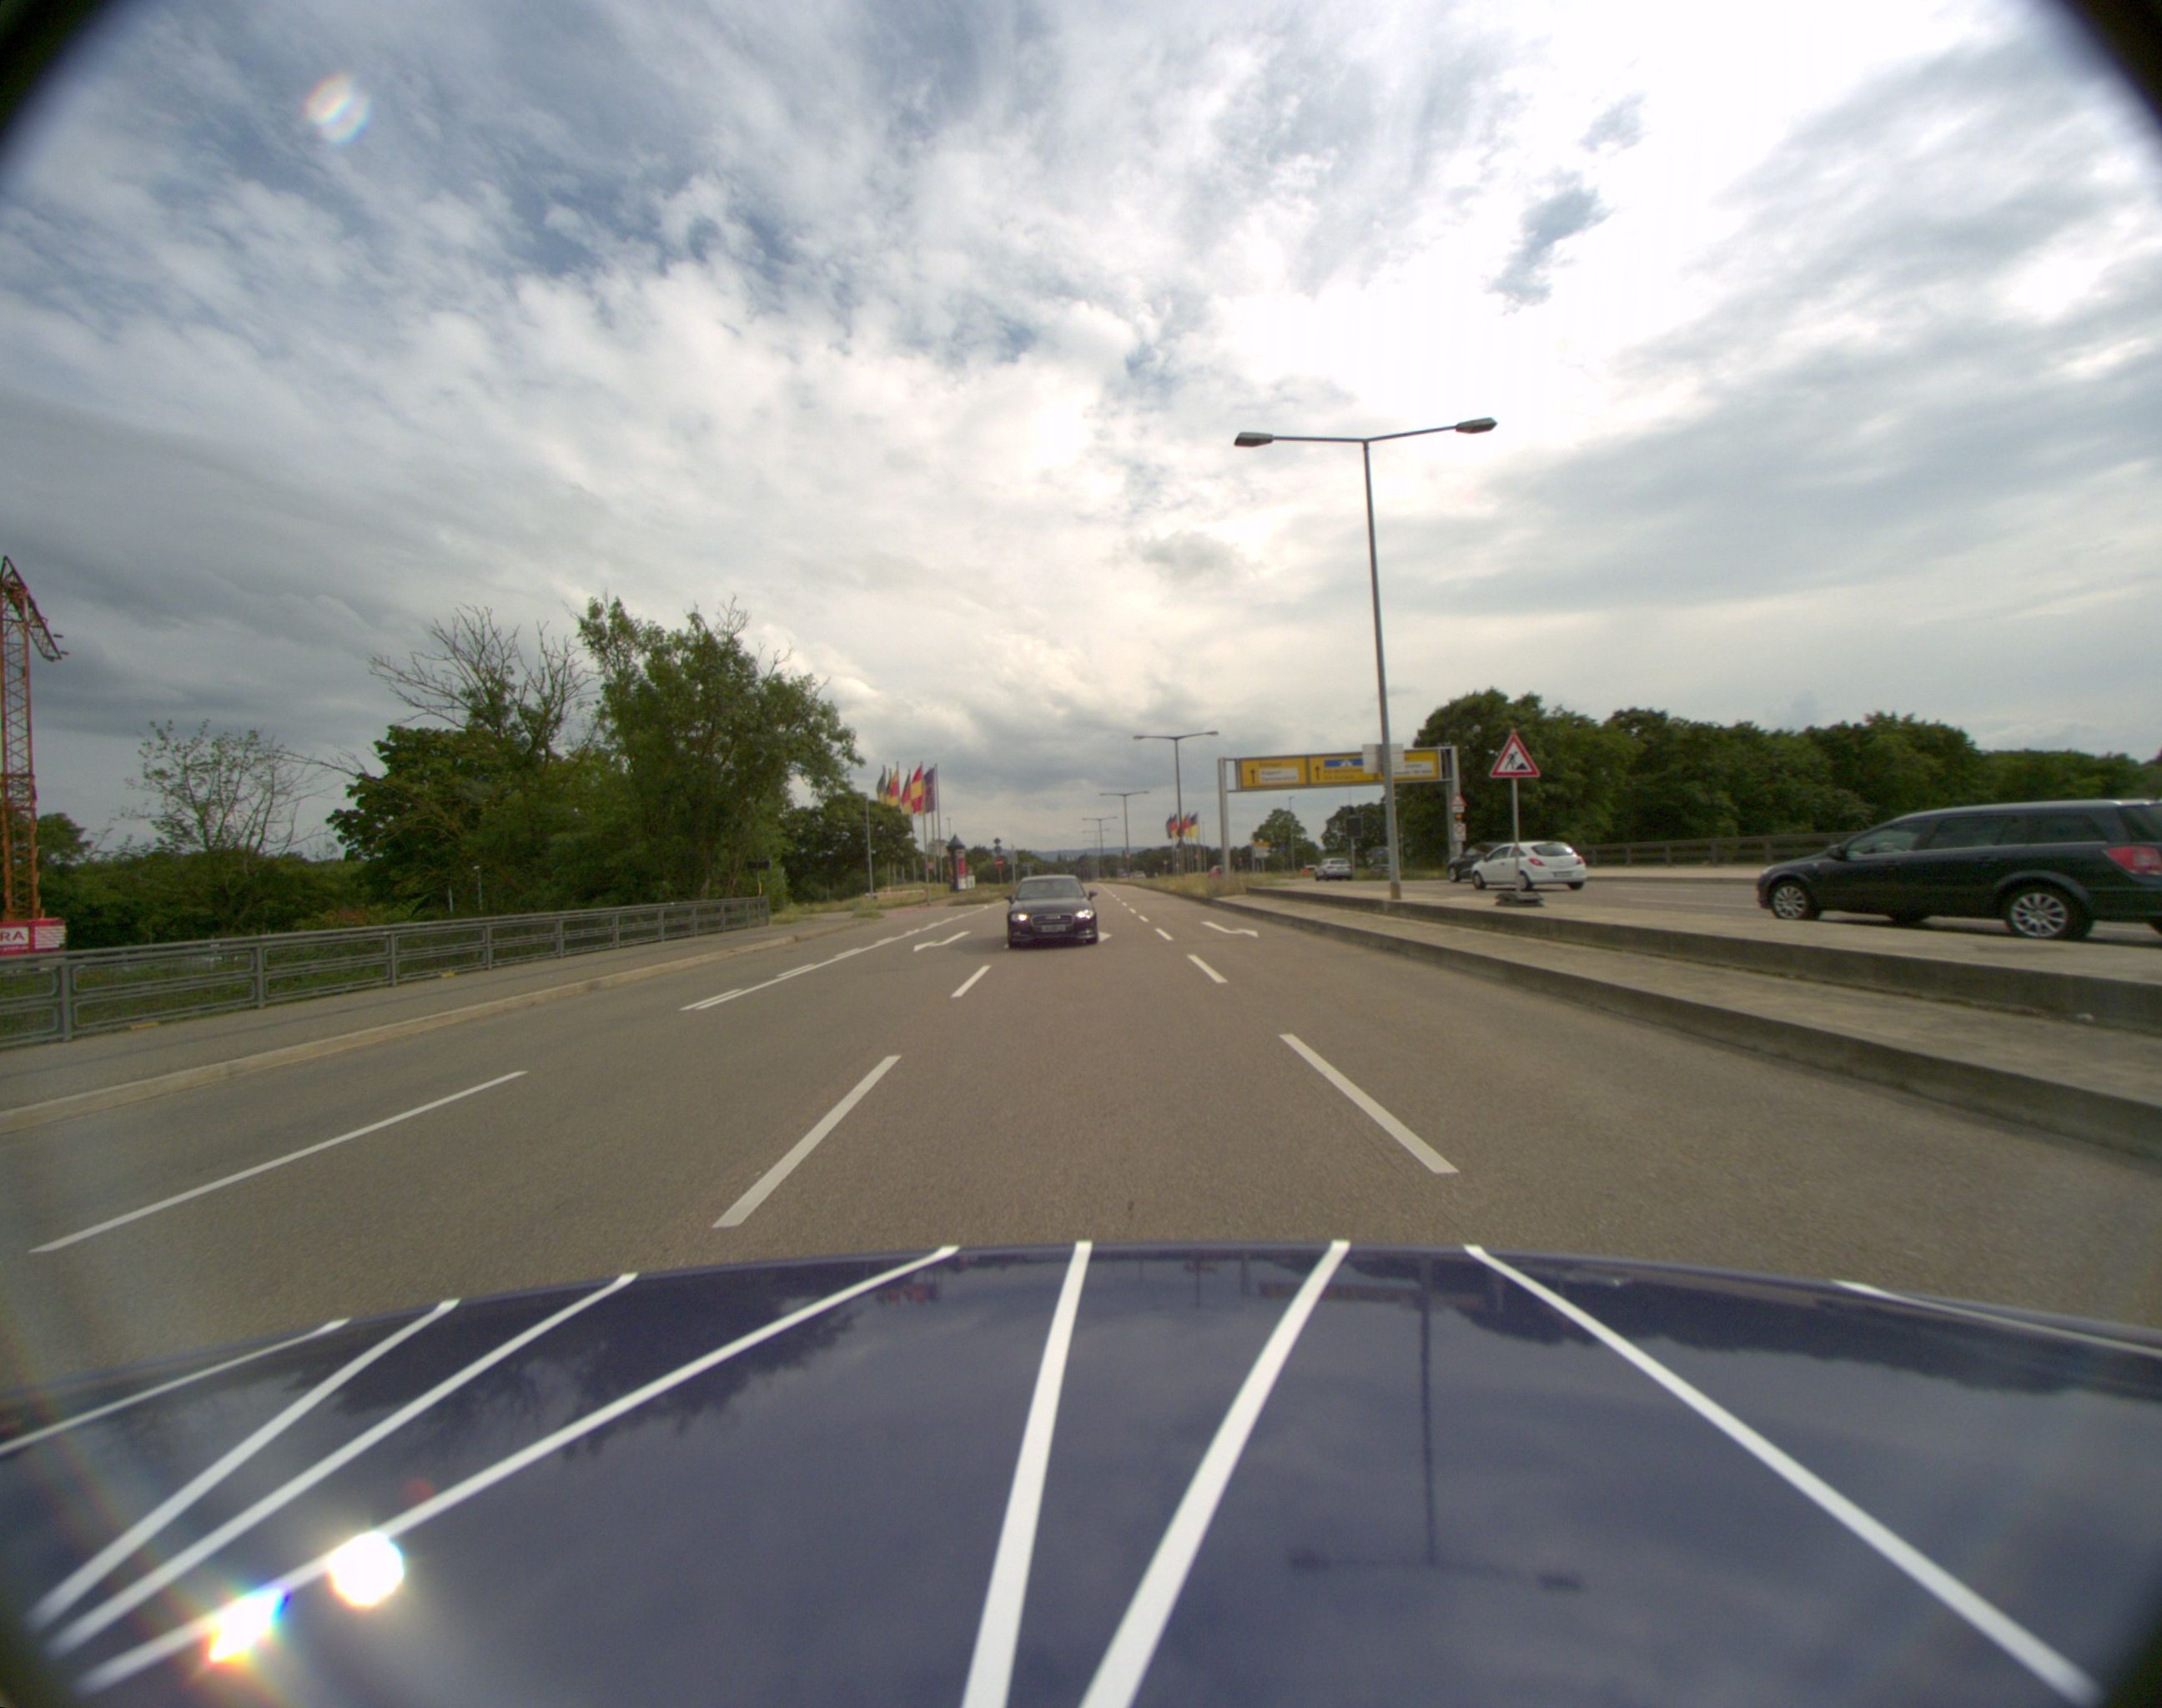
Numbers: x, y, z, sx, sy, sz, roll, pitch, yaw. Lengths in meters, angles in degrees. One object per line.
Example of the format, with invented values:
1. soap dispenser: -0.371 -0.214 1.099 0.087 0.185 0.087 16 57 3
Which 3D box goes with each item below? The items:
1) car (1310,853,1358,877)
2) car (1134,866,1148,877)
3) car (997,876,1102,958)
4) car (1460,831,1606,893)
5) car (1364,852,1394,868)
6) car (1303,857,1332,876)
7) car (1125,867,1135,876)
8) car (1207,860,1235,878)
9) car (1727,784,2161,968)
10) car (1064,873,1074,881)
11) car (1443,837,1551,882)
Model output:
1. car: 17.733 0.755 53.462 1.892 1.523 4.453 -3 0 0
2. car: 9.221 2.776 117.299 1.776 1.597 3.878 -2 -2 -2
3. car: -0.593 1.232 16.367 1.852 1.355 4.730 -3 -1 0
4. car: 13.726 0.236 23.408 1.892 1.630 4.217 -3 0 -1
5. car: 32.330 0.651 82.307 1.888 1.518 4.679 0 -2 35
6. car: 21.938 1.189 70.434 1.889 1.597 4.768 -4 -3 24
7. car: 10.448 3.736 162.626 1.776 1.598 3.876 -2 0 -2
8. car: 12.885 1.376 70.114 1.727 1.523 3.917 -3 0 -2
9. car: 10.556 0.158 8.997 1.892 1.630 4.585 -3 0 1
10. car: -2.617 5.035 167.195 1.998 1.518 4.000 -5 0 1
11. car: 17.051 0.221 31.415 1.892 1.630 4.545 -3 0 0
